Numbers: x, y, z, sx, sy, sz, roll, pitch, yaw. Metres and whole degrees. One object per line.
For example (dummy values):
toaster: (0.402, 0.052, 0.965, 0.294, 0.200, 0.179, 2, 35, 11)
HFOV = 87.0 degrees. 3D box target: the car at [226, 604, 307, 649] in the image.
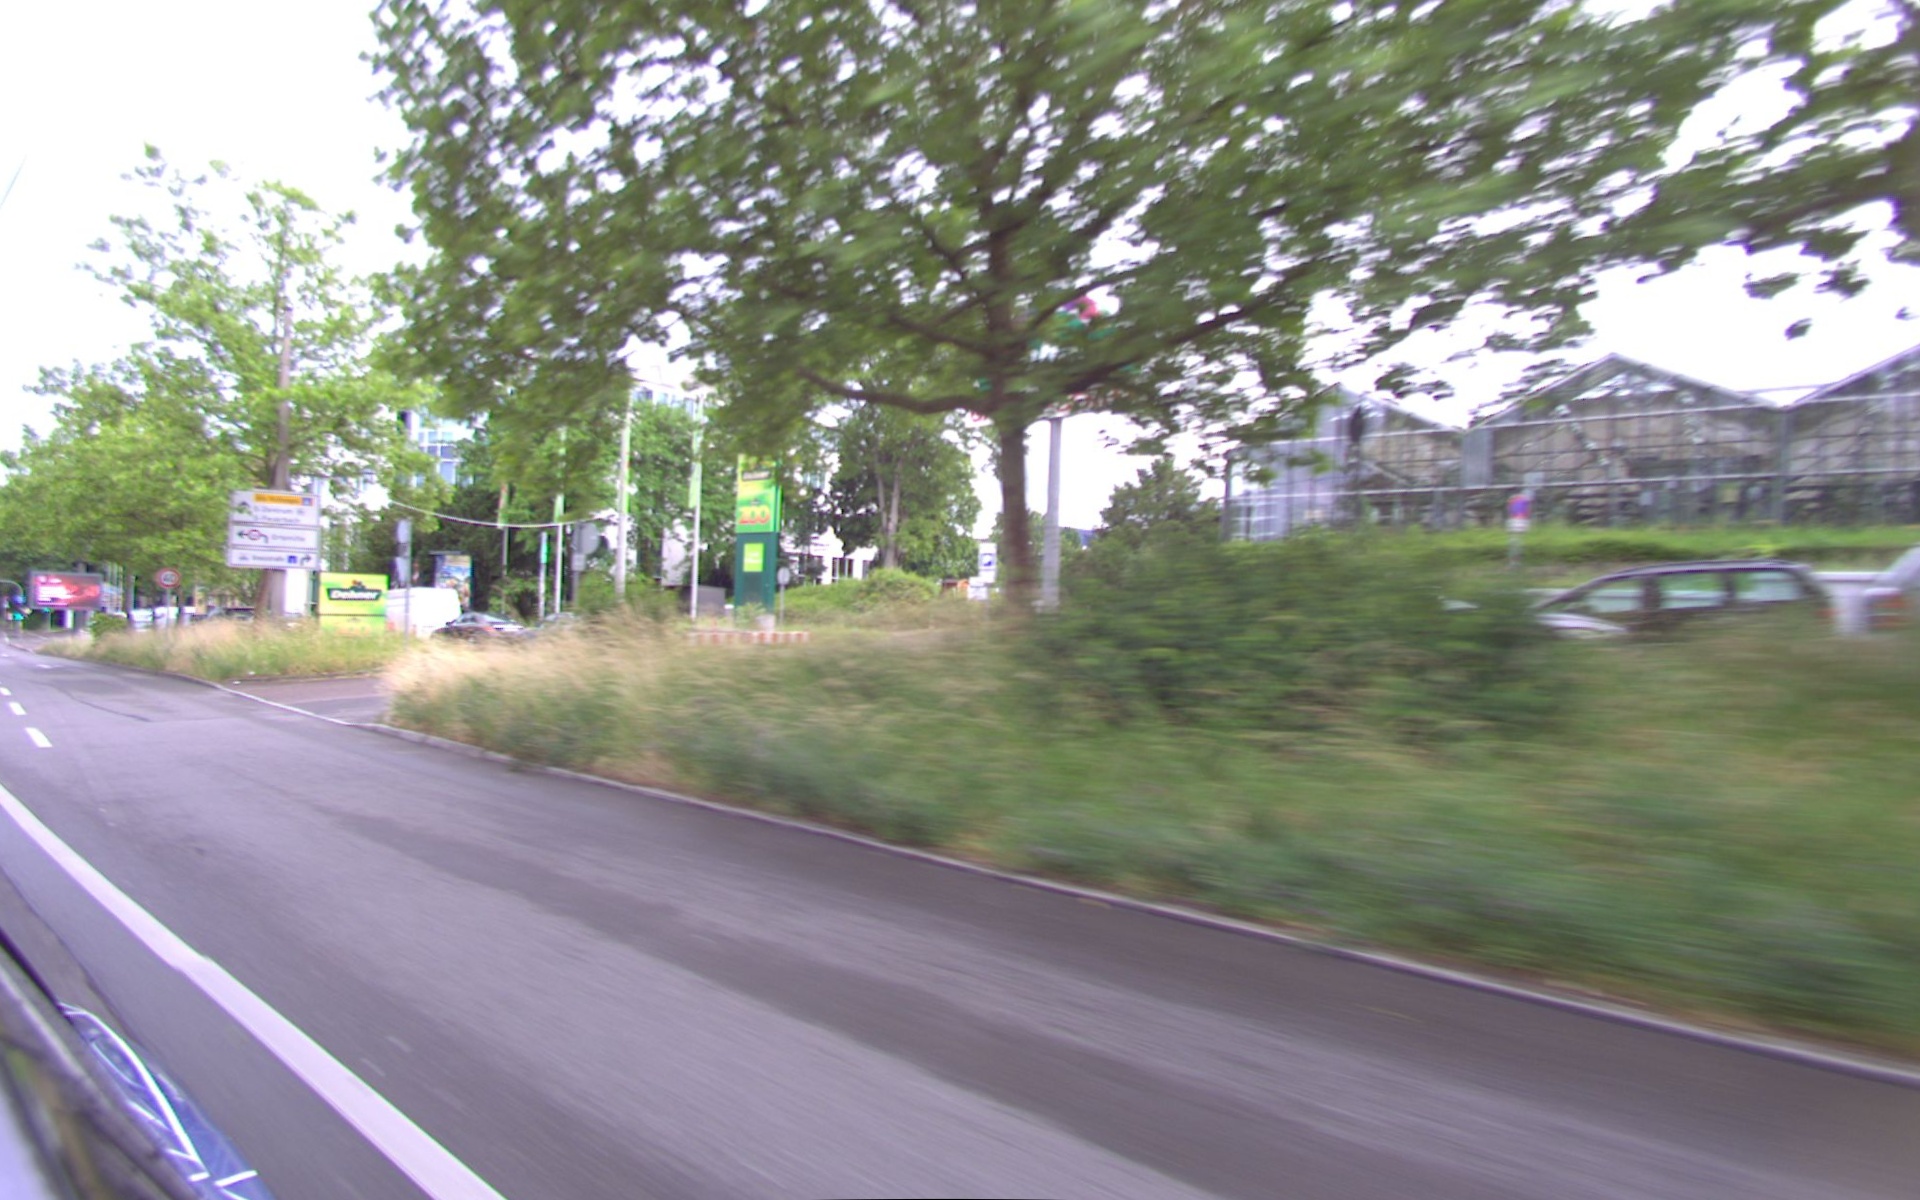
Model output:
car: (-23.761, 0.890, 34.641, 3.705, 1.405, 1.346, 1, -1, 40)

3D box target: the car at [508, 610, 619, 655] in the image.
car: (-13.322, 1.071, 33.904, 4.272, 1.328, 1.388, 1, -1, 37)

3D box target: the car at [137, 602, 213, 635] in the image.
car: (-31.716, 0.772, 40.841, 4.217, 1.214, 1.679, -2, -3, 42)

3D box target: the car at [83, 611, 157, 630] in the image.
car: (-83.961, 2.074, 101.201, 2.215, 1.815, 5.309, 1, -1, 34)

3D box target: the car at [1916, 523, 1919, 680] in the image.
car: (9.553, 0.014, 7.489, 3.441, 1.415, 1.686, 1, -1, 39)

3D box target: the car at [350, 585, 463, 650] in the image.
car: (-22.786, 0.811, 41.579, 5.646, 2.462, 1.944, -3, -4, 38)

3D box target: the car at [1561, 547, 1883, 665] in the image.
car: (10.775, 0.076, 14.517, 3.513, 1.498, 1.633, 1, -1, 39)

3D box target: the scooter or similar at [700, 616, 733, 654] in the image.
scooter or similar: (-8.343, 1.189, 34.676, 1.129, 1.254, 0.489, 1, 0, 39)

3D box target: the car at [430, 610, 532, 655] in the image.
car: (-17.533, 1.170, 36.978, 3.664, 1.479, 1.826, 1, -1, 36)

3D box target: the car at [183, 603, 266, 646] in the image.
car: (-27.463, 0.890, 37.758, 3.643, 1.463, 1.636, 1, -1, 40)
